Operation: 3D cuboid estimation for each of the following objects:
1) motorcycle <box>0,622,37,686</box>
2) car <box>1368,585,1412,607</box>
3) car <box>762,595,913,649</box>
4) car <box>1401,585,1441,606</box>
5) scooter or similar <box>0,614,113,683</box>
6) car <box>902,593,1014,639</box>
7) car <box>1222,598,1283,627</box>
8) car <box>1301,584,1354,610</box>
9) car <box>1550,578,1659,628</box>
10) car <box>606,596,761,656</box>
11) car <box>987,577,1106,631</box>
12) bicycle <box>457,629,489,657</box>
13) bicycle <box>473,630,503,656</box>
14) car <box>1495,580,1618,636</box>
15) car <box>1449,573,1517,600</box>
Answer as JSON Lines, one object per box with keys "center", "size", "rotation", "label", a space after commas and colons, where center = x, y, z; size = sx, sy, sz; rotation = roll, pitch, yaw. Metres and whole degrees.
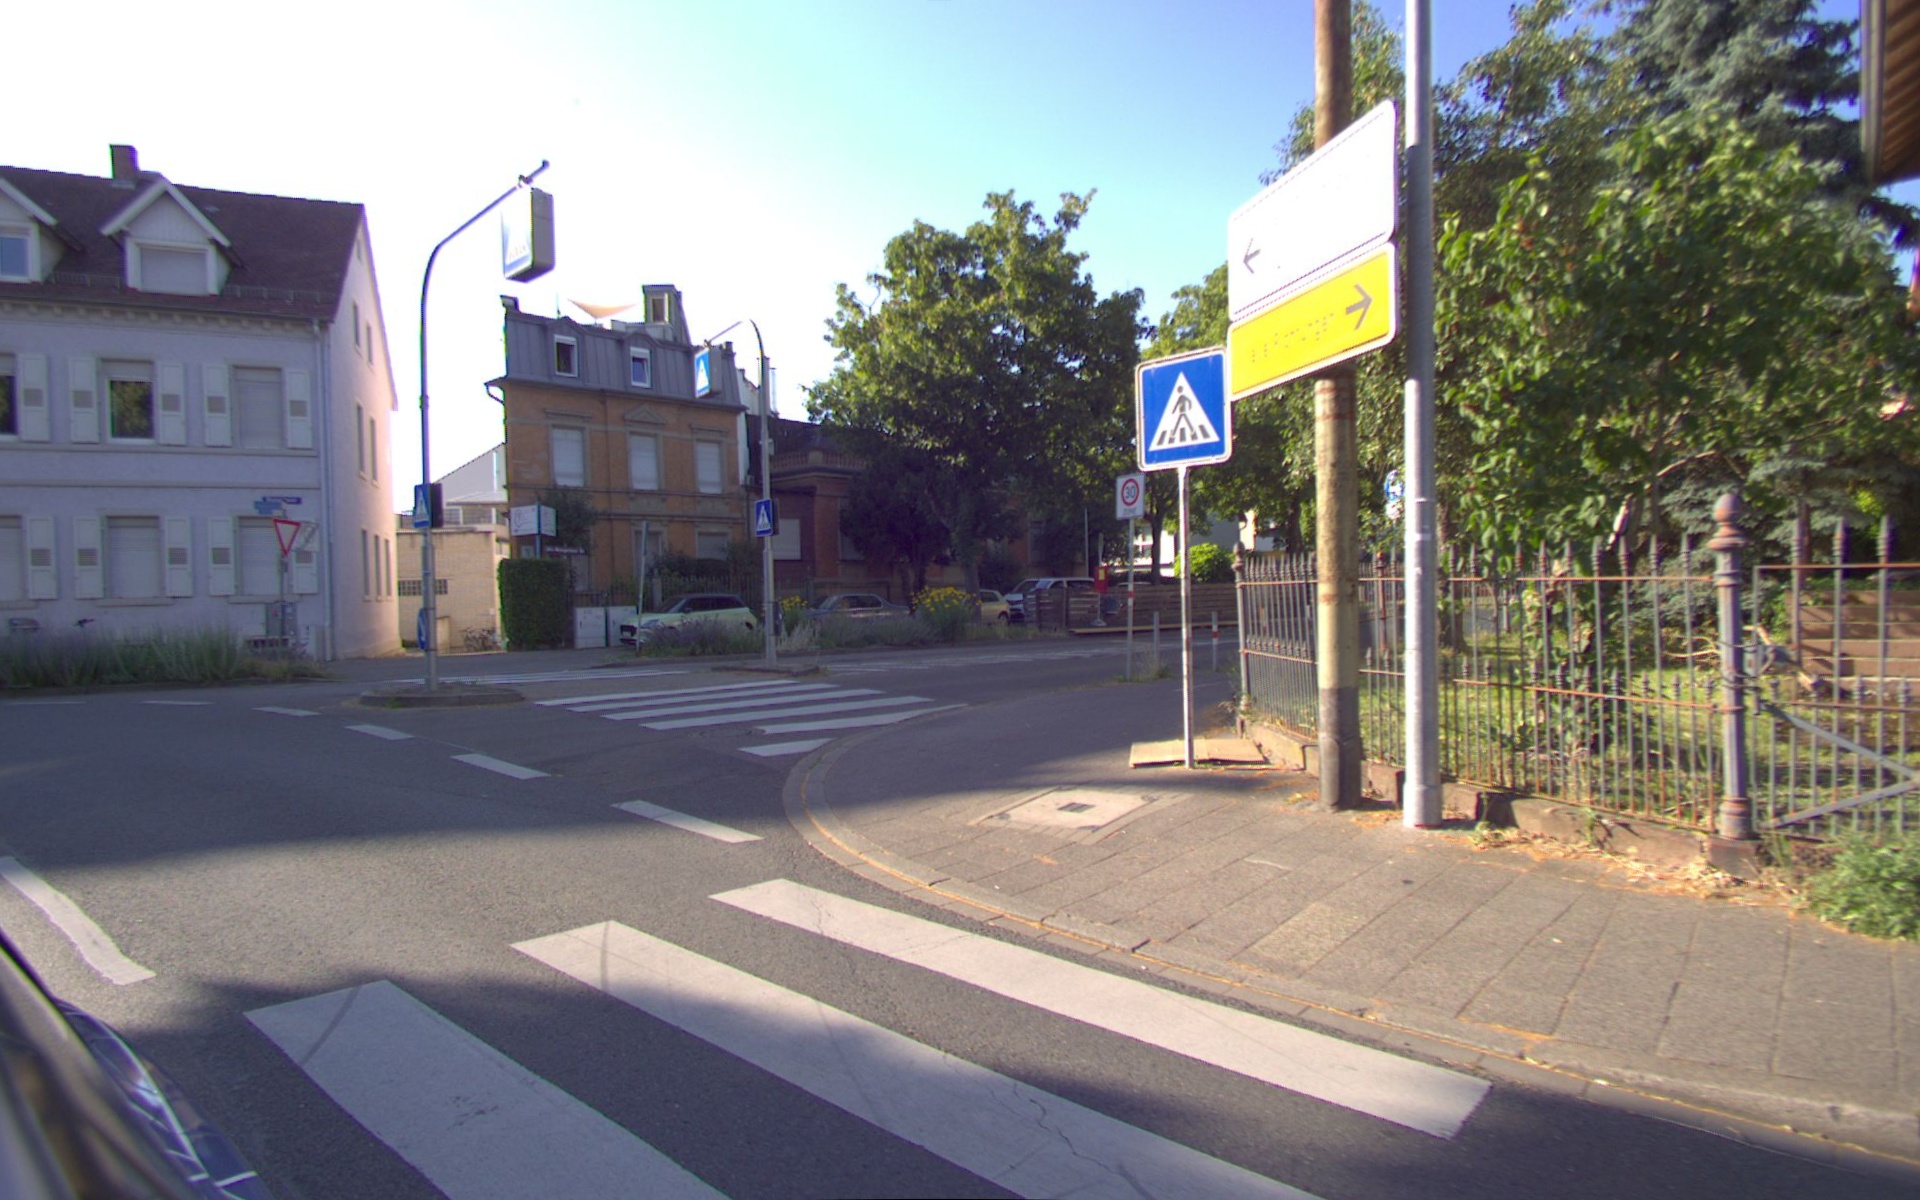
{"center": [-19.600, 1.095, 19.862], "size": [2.073, 1.236, 0.626], "rotation": [-2, 1, -21], "label": "motorcycle"}
{"center": [30.081, -0.269, 70.733], "size": [1.598, 1.402, 3.527], "rotation": [-1, 1, 45], "label": "car"}
{"center": [-3.798, 0.647, 31.908], "size": [1.727, 1.465, 4.627], "rotation": [-1, 1, 45], "label": "car"}
{"center": [34.348, -0.349, 75.337], "size": [1.598, 1.402, 3.527], "rotation": [-1, 1, 45], "label": "car"}
{"center": [-19.899, 1.045, 22.223], "size": [1.854, 1.376, 0.626], "rotation": [-2, 1, -25], "label": "scooter or similar"}
{"center": [-0.023, 0.539, 36.204], "size": [1.703, 1.465, 3.957], "rotation": [-1, 1, 45], "label": "car"}
{"center": [15.609, 0.646, 53.917], "size": [1.598, 1.402, 3.527], "rotation": [-1, 1, 45], "label": "car"}
{"center": [21.833, -0.179, 60.134], "size": [1.598, 1.402, 3.527], "rotation": [-1, 1, 45], "label": "car"}
{"center": [19.892, 0.078, 31.174], "size": [3.939, 1.379, 1.843], "rotation": [-2, 1, -42], "label": "car"}
{"center": [-7.710, 0.688, 28.431], "size": [1.703, 1.465, 3.826], "rotation": [-1, 1, 45], "label": "car"}
{"center": [3.517, 0.132, 40.422], "size": [1.930, 1.959, 5.025], "rotation": [-1, 1, 45], "label": "car"}
{"center": [-21.366, 1.869, 44.445], "size": [0.693, 1.090, 2.345], "rotation": [-2, 1, -11], "label": "bicycle"}
{"center": [-21.994, 1.993, 47.216], "size": [0.693, 1.090, 2.345], "rotation": [-2, 1, -11], "label": "bicycle"}
{"center": [16.552, 0.184, 28.024], "size": [3.939, 1.379, 1.843], "rotation": [-2, 1, -42], "label": "car"}
{"center": [37.373, -0.930, 72.354], "size": [1.809, 1.793, 4.013], "rotation": [-2, 1, -25], "label": "car"}
